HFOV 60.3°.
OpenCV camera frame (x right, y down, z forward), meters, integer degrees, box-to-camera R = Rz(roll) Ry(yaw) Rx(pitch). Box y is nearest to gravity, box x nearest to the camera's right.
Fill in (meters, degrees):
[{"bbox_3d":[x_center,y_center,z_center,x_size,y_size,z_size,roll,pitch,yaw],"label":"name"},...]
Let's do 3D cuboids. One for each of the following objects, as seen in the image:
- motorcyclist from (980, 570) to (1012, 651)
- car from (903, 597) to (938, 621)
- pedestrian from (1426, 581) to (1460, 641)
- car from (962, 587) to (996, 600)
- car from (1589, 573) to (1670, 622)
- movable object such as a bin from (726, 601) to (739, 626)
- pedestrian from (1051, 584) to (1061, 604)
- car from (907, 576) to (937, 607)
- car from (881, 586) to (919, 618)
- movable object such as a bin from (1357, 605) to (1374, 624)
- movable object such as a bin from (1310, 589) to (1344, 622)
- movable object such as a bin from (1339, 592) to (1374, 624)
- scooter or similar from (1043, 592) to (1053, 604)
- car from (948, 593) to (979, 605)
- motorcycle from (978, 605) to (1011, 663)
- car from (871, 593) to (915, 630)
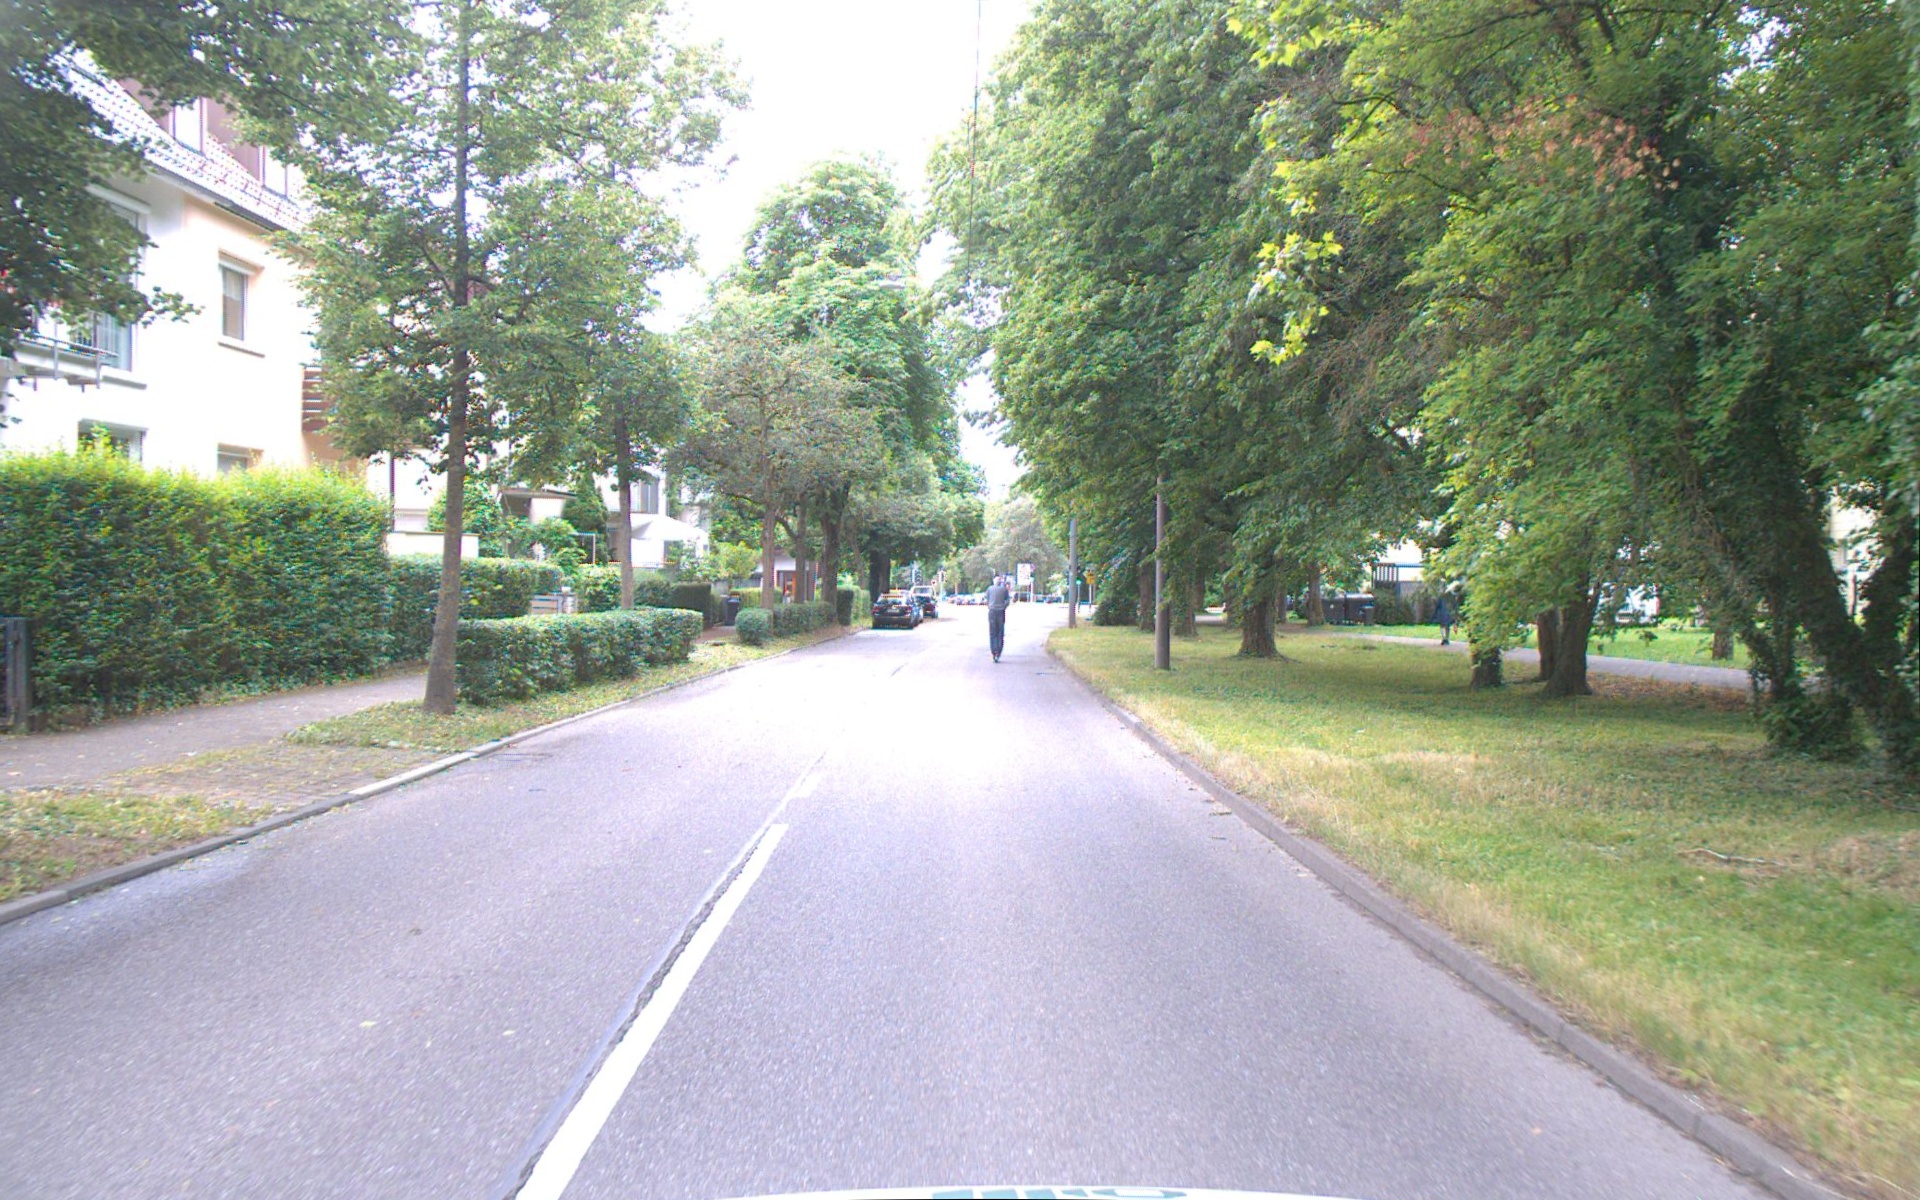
[{"bbox_3d":[0.812,0.243,37.465,0.659,1.792,0.639,2,0,3],"label":"motorcyclist"},{"bbox_3d":[-2.410,0.542,101.463,1.852,1.435,4.555,0,0,2],"label":"car"},{"bbox_3d":[13.979,0.309,47.897,0.752,1.716,0.814,-1,0,0],"label":"pedestrian"},{"bbox_3d":[2.205,-0.786,195.047,3.906,1.537,1.800,0,0,-1],"label":"car"},{"bbox_3d":[27.019,-0.132,66.896,2.041,1.875,4.972,-1,1,10],"label":"car"},{"bbox_3d":[-8.478,0.513,61.737,0.447,0.931,0.508,0,0,-5],"label":"movable object such as a bin"},{"bbox_3d":[8.636,-0.524,148.842,0.717,1.792,0.662,0,-1,21],"label":"pedestrian"},{"bbox_3d":[-2.611,-0.558,112.392,1.821,1.998,4.501,0,0,-4],"label":"car"},{"bbox_3d":[-2.703,0.097,75.309,1.630,1.416,3.706,0,0,-1],"label":"car"},{"bbox_3d":[18.781,0.677,76.619,0.586,0.893,0.669,-1,0,-1],"label":"movable object such as a bin"},{"bbox_3d":[17.391,0.269,78.460,1.299,1.527,1.314,-1,0,-1],"label":"movable object such as a bin"},{"bbox_3d":[18.805,0.374,78.505,1.299,1.527,1.314,-1,0,-1],"label":"movable object such as a bin"},{"bbox_3d":[7.959,-0.158,149.140,0.695,1.067,0.787,0,0,21],"label":"scooter or similar"},{"bbox_3d":[0.379,-0.142,209.863,3.906,1.537,1.800,0,0,-1],"label":"car"},{"bbox_3d":[0.783,0.755,37.188,0.659,1.239,1.274,2,0,3],"label":"motorcycle"},{"bbox_3d":[-2.814,0.456,70.236,1.758,1.498,4.417,0,0,-1],"label":"car"}]
